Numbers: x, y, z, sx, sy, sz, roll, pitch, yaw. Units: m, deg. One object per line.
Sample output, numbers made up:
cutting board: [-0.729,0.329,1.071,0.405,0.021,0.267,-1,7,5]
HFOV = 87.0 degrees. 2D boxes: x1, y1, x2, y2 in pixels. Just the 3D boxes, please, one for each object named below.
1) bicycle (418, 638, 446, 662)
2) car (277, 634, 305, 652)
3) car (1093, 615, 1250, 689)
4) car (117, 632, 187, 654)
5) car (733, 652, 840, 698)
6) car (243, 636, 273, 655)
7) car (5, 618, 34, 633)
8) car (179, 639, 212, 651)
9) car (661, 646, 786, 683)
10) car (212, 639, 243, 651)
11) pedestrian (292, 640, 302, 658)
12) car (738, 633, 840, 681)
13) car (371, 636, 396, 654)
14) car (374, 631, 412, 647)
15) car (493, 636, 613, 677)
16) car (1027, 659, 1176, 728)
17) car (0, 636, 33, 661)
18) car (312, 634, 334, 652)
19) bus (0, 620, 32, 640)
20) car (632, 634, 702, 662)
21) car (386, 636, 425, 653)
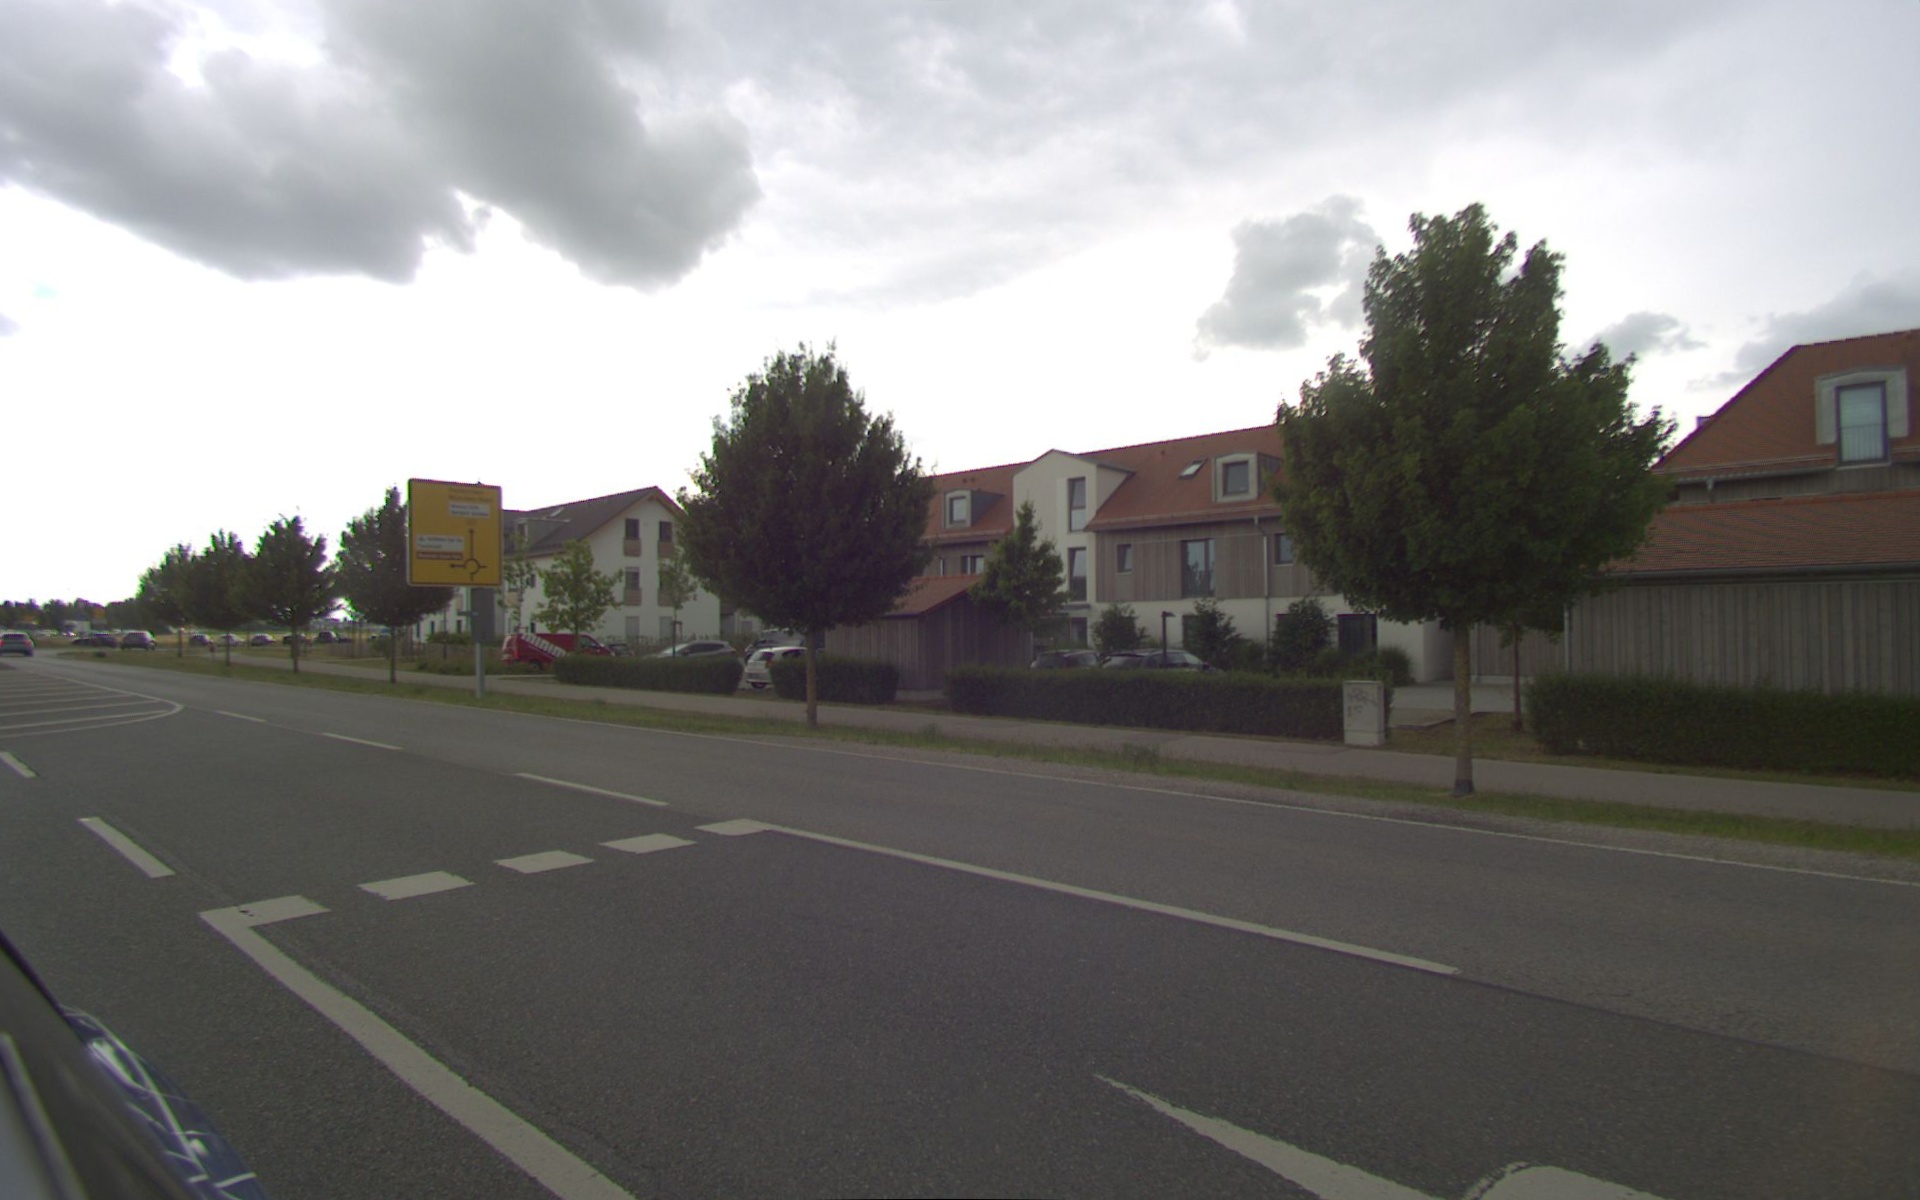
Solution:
bicycle: [-32.088,3.062,61.482,2.342,1.423,0.675,-2,-4,41]
car: [-76.138,4.889,115.215,1.965,2.029,4.013,2,-4,-24]
car: [5.176,1.264,24.493,2.000,1.630,3.943,-2,-4,43]
car: [-65.862,3.529,82.492,1.831,1.594,4.156,-2,-5,42]
car: [-6.011,2.601,35.273,1.562,1.501,3.477,-2,-4,41]
car: [-79.289,5.180,114.340,1.965,2.029,4.013,2,-4,-24]
car: [-97.438,2.634,104.866,3.998,1.455,1.751,-2,-4,41]
car: [-84.563,4.990,111.968,1.965,1.298,4.013,2,-4,-24]
car: [-9.757,2.677,42.136,1.906,1.441,4.852,-2,-4,42]
car: [-81.740,5.077,112.967,1.965,1.298,4.013,2,-4,-24]
pedestrian: [-56.750,4.216,86.653,0.586,1.541,0.540,-2,-2,41]
car: [-8.092,2.638,47.465,5.202,2.029,1.971,-3,0,44]
car: [-68.950,5.398,121.096,1.965,2.029,4.013,2,-3,-21]
car: [-76.363,5.225,136.404,1.991,2.029,3.960,-1,-4,29]
car: [-19.088,2.683,47.643,4.847,1.830,1.908,4,-4,-44]
car: [3.762,2.386,26.484,2.000,1.630,3.943,-2,-4,43]
car: [-58.020,2.970,61.713,3.998,1.455,1.751,-2,-4,41]
car: [-73.188,4.916,116.278,1.966,2.029,4.010,3,-4,-33]
bus: [-159.926,5.097,171.310,6.475,3.305,2.955,-2,-4,38]
car: [-16.452,2.683,56.748,3.998,1.519,1.972,-2,-4,42]
car: [-71.450,5.760,130.421,1.994,2.029,3.955,-2,-4,32]
